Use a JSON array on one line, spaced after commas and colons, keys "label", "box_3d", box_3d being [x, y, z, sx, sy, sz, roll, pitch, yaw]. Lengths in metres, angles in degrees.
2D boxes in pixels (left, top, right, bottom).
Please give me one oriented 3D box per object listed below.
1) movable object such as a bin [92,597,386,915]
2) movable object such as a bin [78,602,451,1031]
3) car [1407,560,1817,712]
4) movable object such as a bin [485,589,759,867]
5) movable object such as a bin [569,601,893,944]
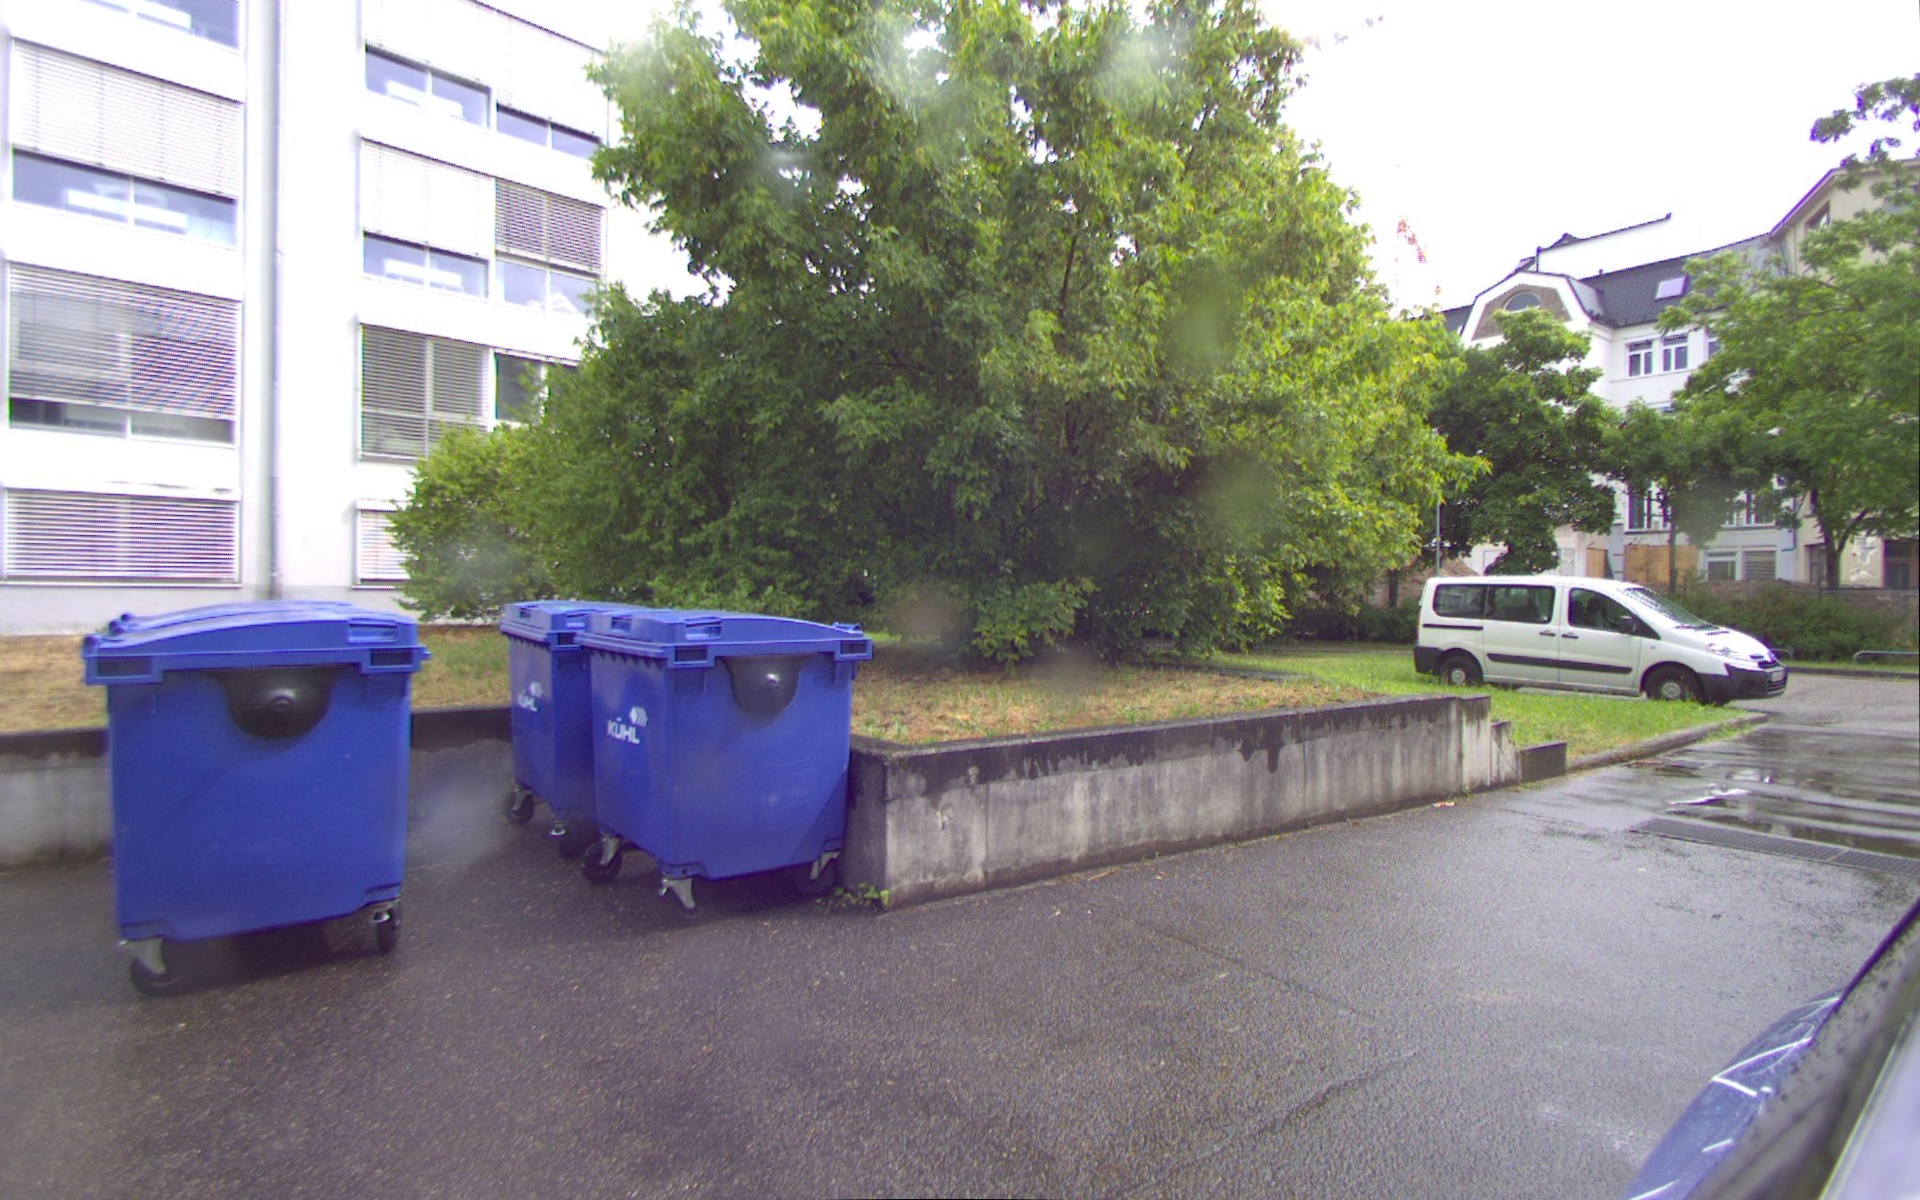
[{"label": "movable object such as a bin", "box_3d": [-3.587, 0.655, 5.081, 1.086, 1.320, 1.189, 0, 1, -37]}, {"label": "movable object such as a bin", "box_3d": [-2.758, 0.686, 4.074, 1.062, 1.320, 1.376, 0, 1, -36]}, {"label": "car", "box_3d": [9.757, 0.472, 15.588, 2.060, 1.950, 4.888, -1, 0, -35]}, {"label": "movable object such as a bin", "box_3d": [-1.982, 0.624, 5.862, 1.174, 1.353, 1.297, 0, 1, -36]}, {"label": "movable object such as a bin", "box_3d": [-1.129, 0.677, 4.825, 1.075, 1.308, 1.342, 0, 1, -36]}]
